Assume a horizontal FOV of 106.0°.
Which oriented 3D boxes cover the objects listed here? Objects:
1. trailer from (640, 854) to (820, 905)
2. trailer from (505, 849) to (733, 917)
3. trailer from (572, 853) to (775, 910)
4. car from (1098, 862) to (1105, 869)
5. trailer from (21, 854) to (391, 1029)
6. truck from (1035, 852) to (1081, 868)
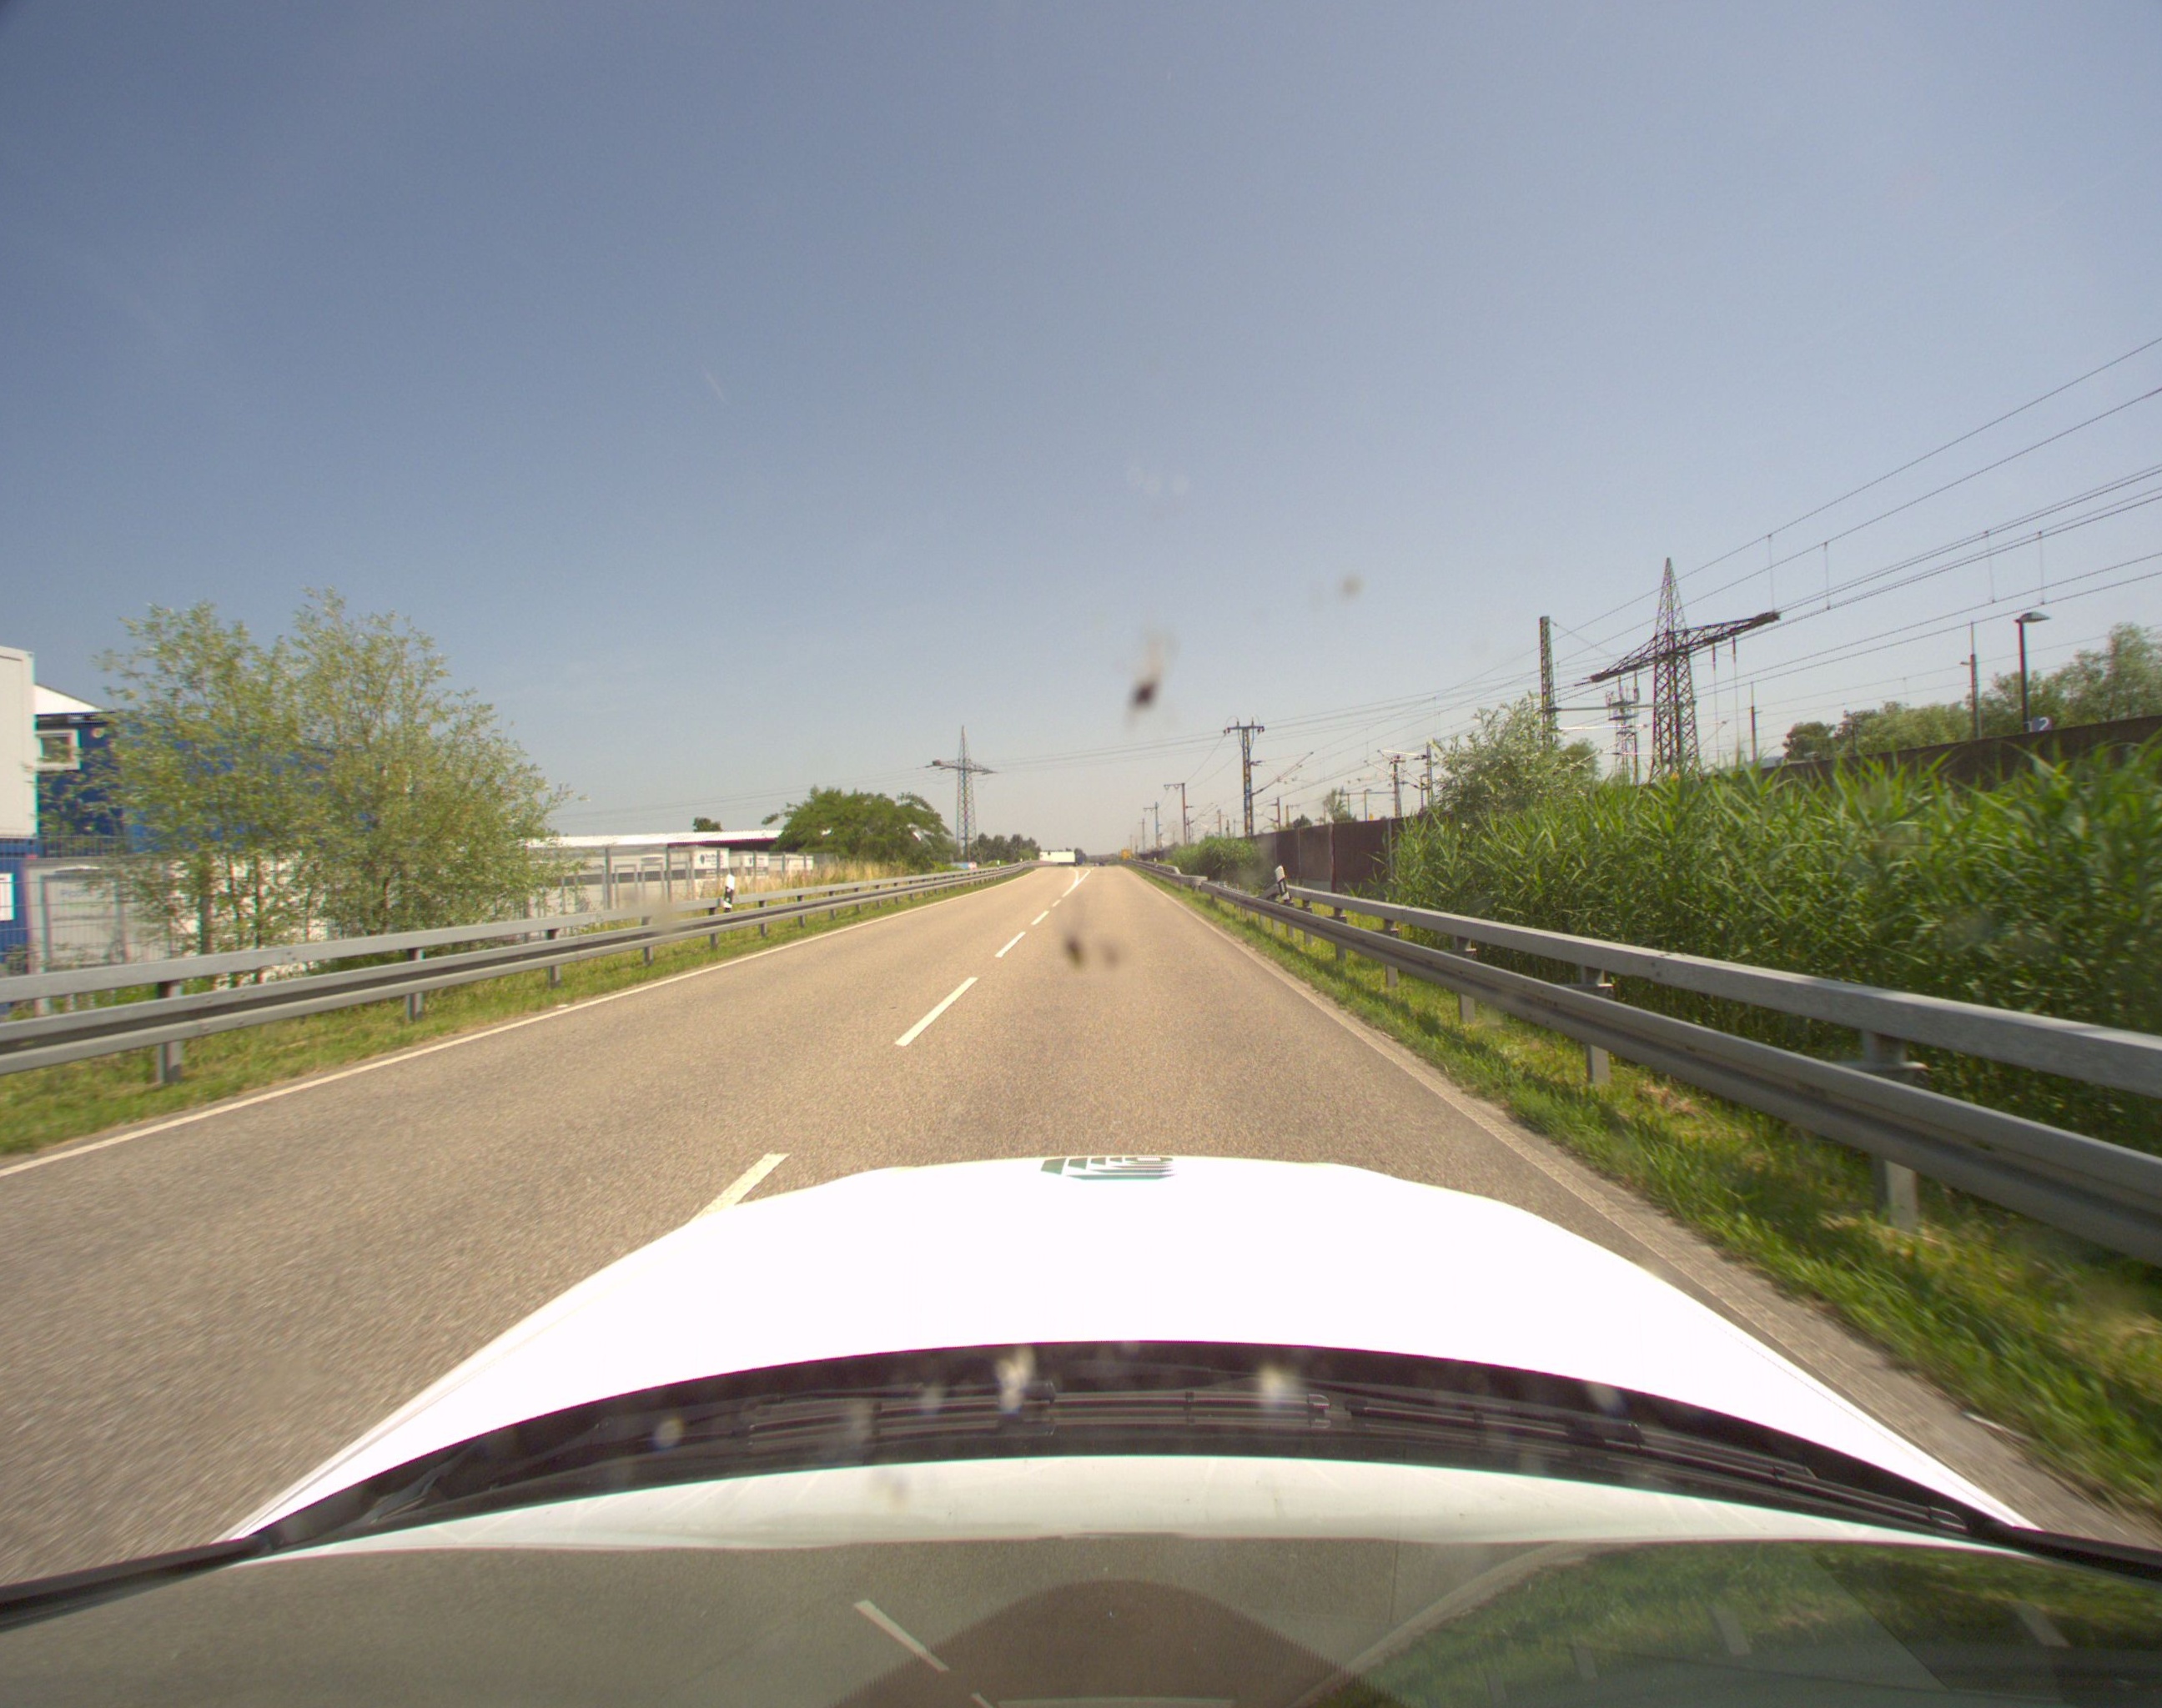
[{"bbox_3d":[-12.819,0.903,29.978,5.501,1.720,2.487,-1,0,4],"label":"trailer"},{"bbox_3d":[-13.794,0.831,24.615,5.368,1.848,2.544,-1,0,1],"label":"trailer"},{"bbox_3d":[-13.541,0.897,27.352,5.504,1.744,2.486,-1,0,2],"label":"trailer"},{"bbox_3d":[6.492,3.668,255.376,1.988,2.013,3.997,-1,0,-2],"label":"car"},{"bbox_3d":[-14.035,1.229,13.492,1.989,2.437,3.917,-1,0,-4],"label":"trailer"},{"bbox_3d":[-5.322,1.312,187.277,10.416,3.632,2.834,0,0,-11],"label":"truck"}]
